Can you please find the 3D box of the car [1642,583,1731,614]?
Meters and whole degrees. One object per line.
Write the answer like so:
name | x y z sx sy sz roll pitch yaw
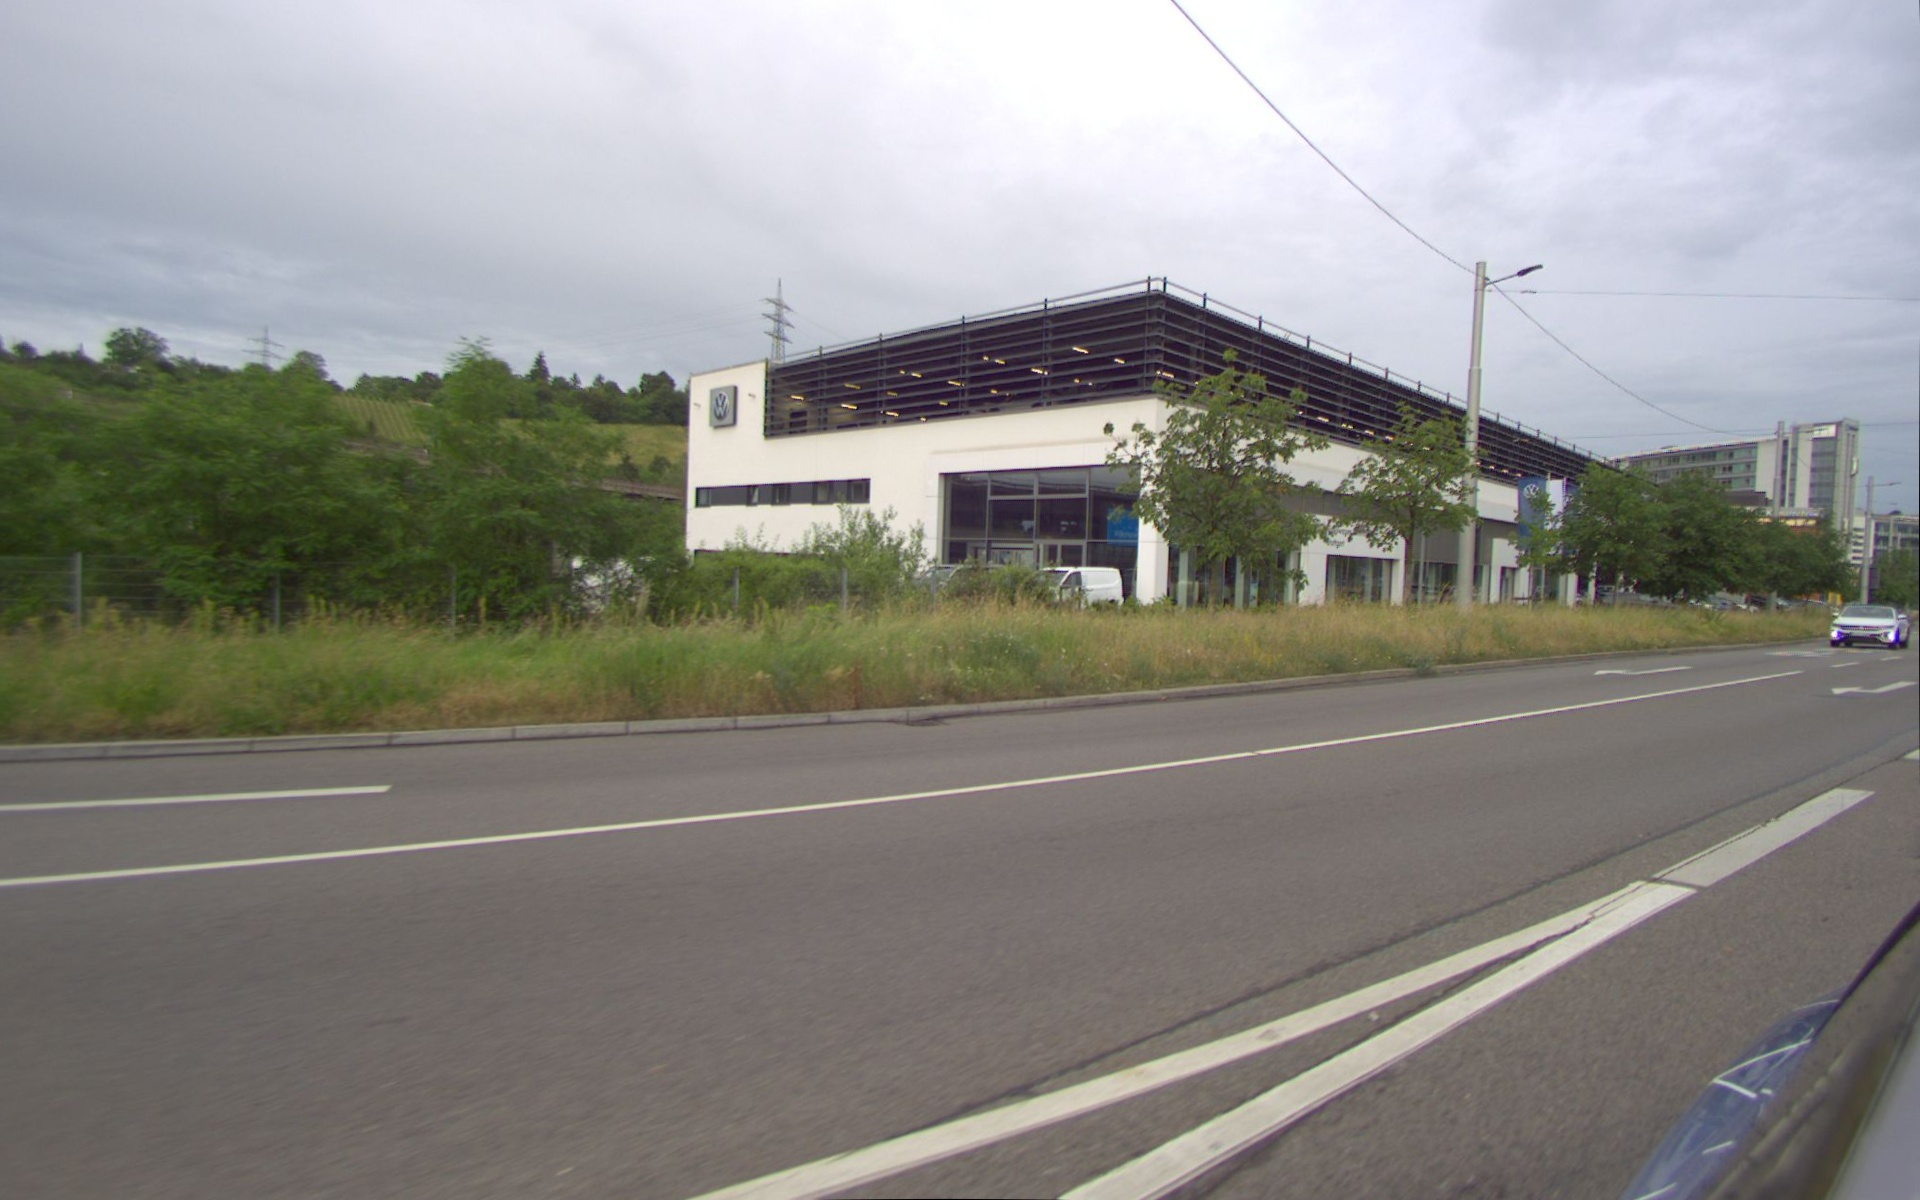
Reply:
car | 48.447 -0.123 67.597 4.295 1.645 1.848 4 3 16

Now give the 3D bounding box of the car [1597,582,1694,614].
car | 42.918 -0.140 63.484 4.562 1.587 1.844 4 3 16

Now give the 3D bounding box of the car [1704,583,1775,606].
car | 62.950 -0.461 81.790 4.039 1.483 1.742 4 3 13

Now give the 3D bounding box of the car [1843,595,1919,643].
car | 32.556 0.652 35.626 3.772 1.513 1.876 1 1 -44

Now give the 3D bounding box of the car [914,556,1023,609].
car | 0.419 -0.675 42.021 1.945 2.076 4.633 0 0 43

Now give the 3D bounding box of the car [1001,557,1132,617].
car | 3.997 -0.448 37.263 5.007 2.039 2.045 1 1 -45

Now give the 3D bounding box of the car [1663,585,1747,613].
car | 51.199 -0.096 69.628 4.125 1.587 1.794 4 3 11

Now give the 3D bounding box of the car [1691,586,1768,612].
car | 56.868 -0.079 74.835 4.034 1.587 1.795 4 3 10

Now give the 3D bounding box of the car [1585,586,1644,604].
car | 56.749 -0.439 87.729 1.755 1.527 3.992 1 0 -42

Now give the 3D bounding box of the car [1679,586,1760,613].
car | 54.036 -0.074 72.049 4.117 1.587 1.798 3 3 5

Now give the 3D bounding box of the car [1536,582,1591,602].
car | 53.105 -0.727 89.040 1.612 1.607 3.819 1 3 -45
